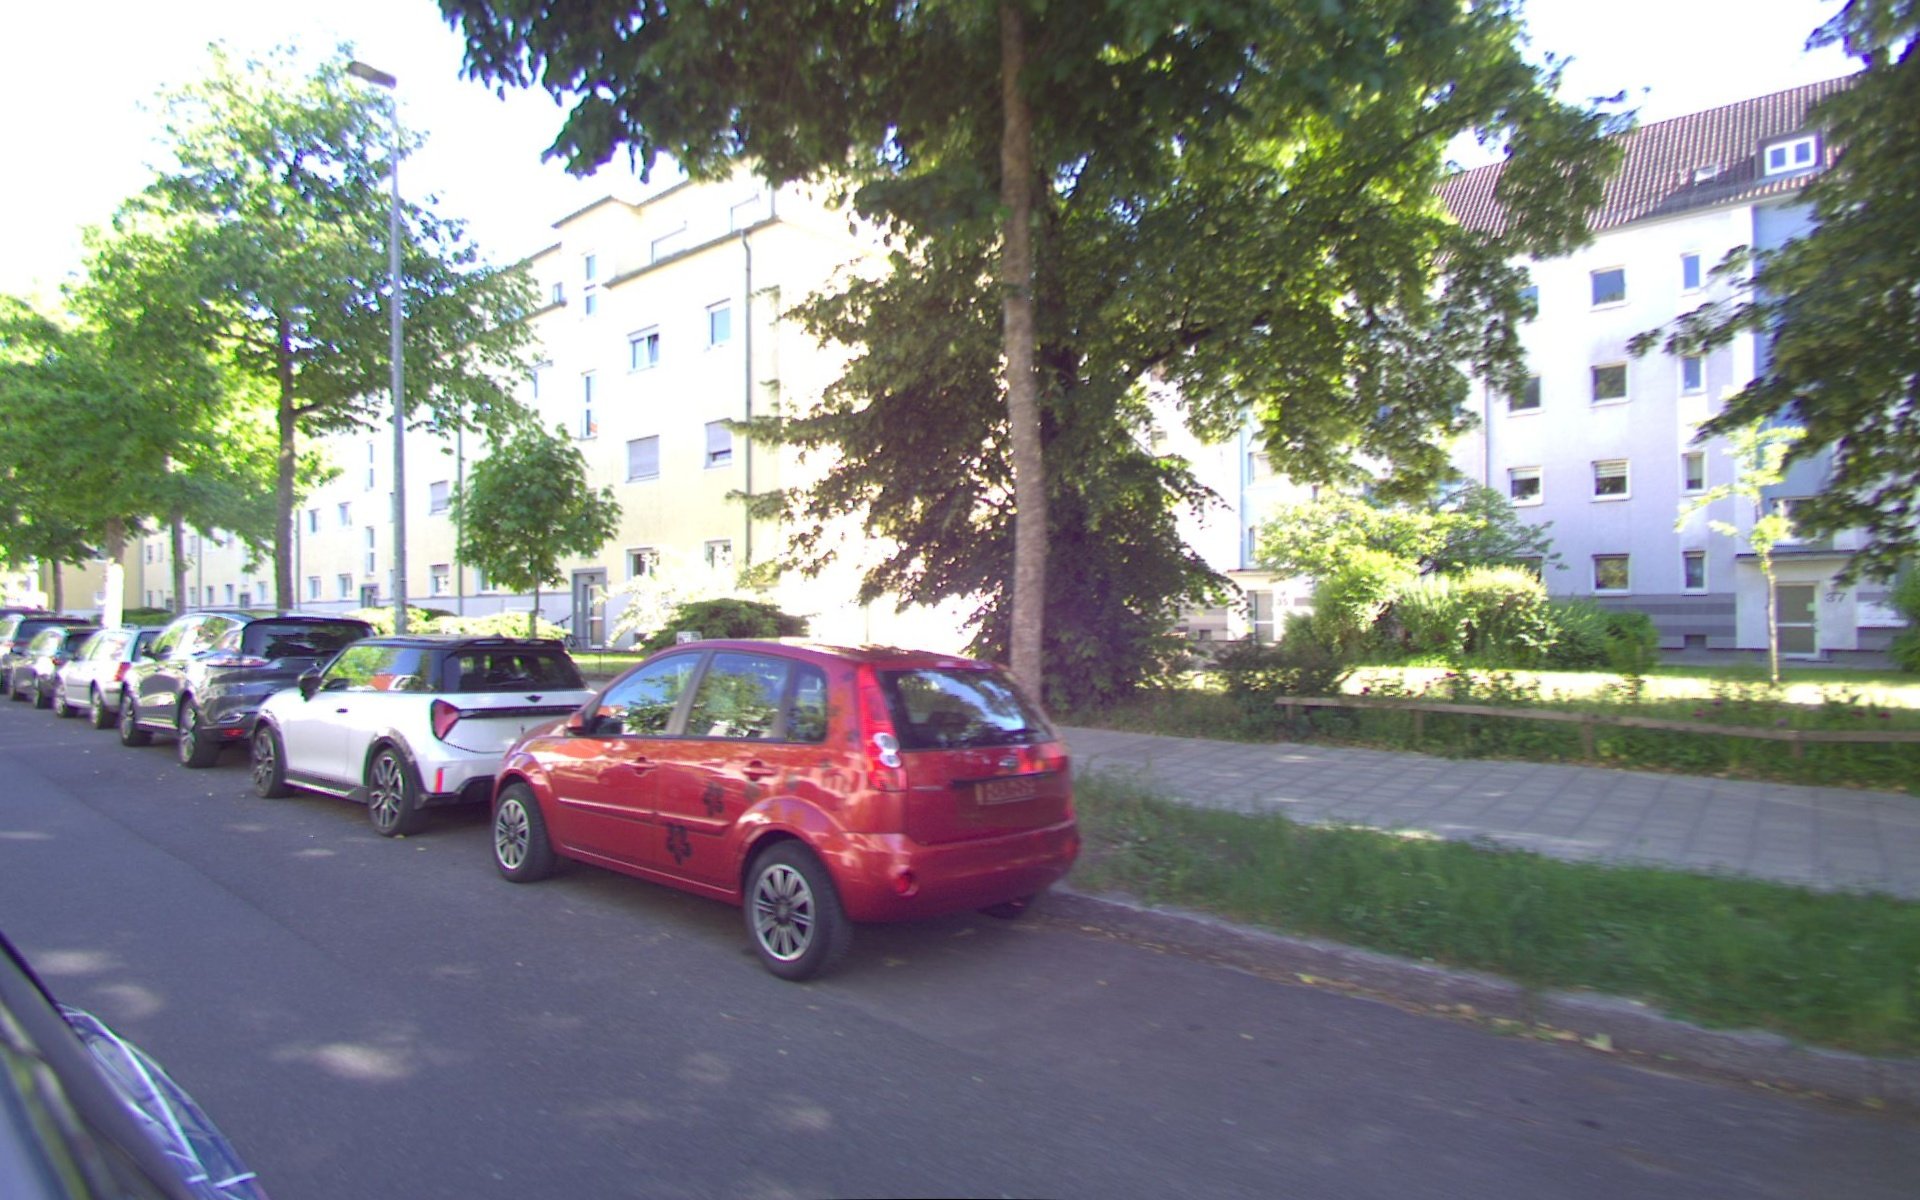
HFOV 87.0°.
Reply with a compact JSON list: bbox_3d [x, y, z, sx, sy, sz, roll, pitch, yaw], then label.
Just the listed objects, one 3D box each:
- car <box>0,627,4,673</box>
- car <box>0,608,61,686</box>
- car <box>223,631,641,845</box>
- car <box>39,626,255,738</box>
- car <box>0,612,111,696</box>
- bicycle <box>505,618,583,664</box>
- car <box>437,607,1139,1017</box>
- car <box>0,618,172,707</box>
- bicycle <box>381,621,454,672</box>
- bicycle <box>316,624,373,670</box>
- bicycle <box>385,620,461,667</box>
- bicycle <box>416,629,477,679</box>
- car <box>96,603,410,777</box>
[{"bbox_3d":[-32.745,1.597,33.072,4.061,1.482,1.757,-1,-4,41],"label":"car"},{"bbox_3d":[-24.757,1.171,26.050,4.863,1.864,1.775,-1,-2,41],"label":"car"},{"bbox_3d":[-4.617,0.960,8.586,4.185,1.384,1.637,-1,-2,39],"label":"car"},{"bbox_3d":[-12.570,1.146,15.554,4.485,1.492,1.689,-1,-2,39],"label":"car"},{"bbox_3d":[-20.696,1.143,22.550,4.519,1.699,1.777,-1,-2,37],"label":"car"},{"bbox_3d":[-11.822,1.137,28.820,0.776,1.235,1.933,-1,-1,37],"label":"bicycle"},{"bbox_3d":[-1.189,0.835,5.695,4.064,1.516,1.637,-1,-2,39],"label":"car"},{"bbox_3d":[-16.372,1.090,18.836,4.485,1.463,1.775,-1,-2,40],"label":"car"},{"bbox_3d":[-13.865,1.177,25.916,0.515,1.235,1.623,-1,0,31],"label":"bicycle"},{"bbox_3d":[-16.616,1.238,27.311,2.259,1.199,0.589,-1,-2,39],"label":"bicycle"},{"bbox_3d":[-14.901,1.195,28.104,0.517,1.235,1.802,-1,-1,41],"label":"bicycle"},{"bbox_3d":[-11.632,1.208,22.902,1.932,1.069,0.566,-1,-1,41],"label":"bicycle"},{"bbox_3d":[-8.581,0.923,12.070,5.083,1.669,1.823,-1,-2,40],"label":"car"}]
